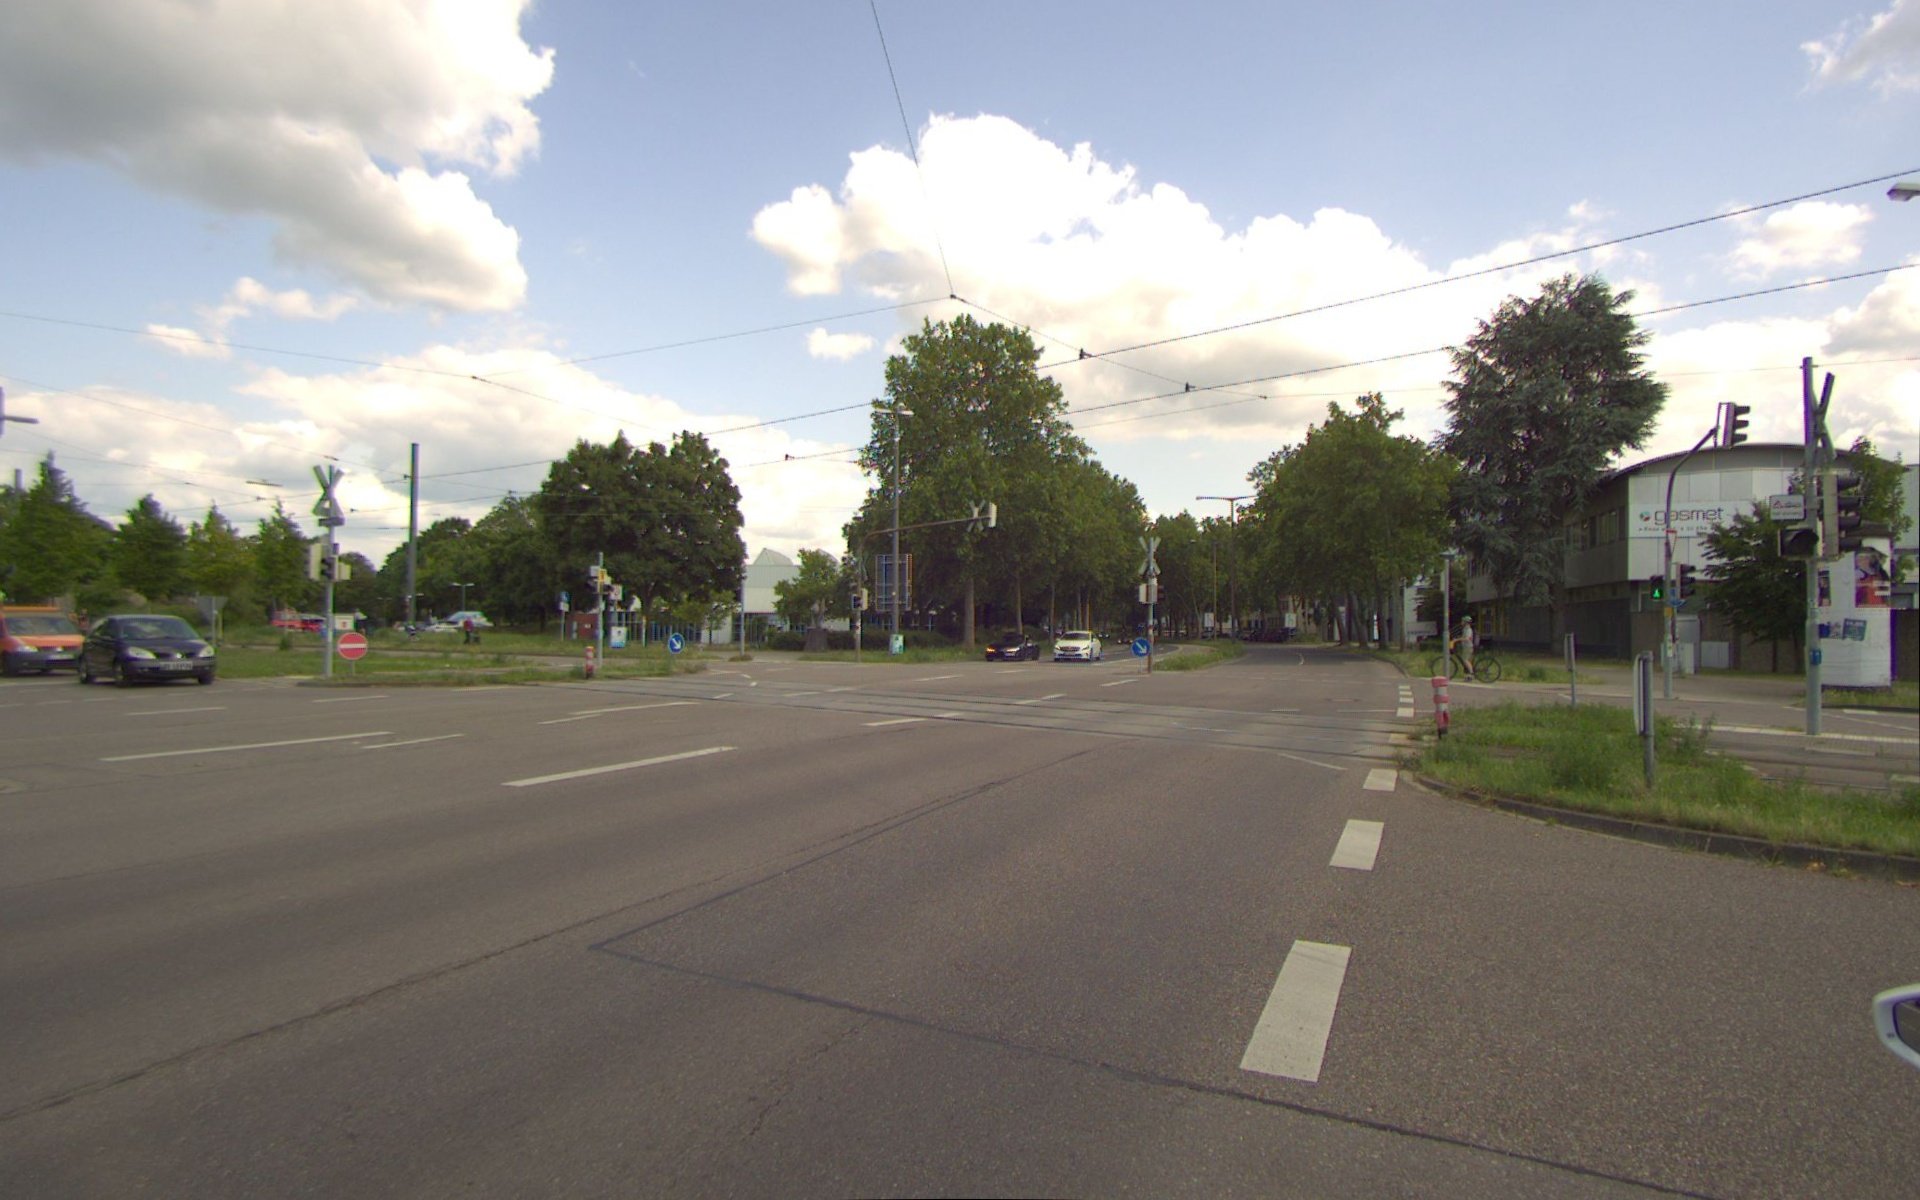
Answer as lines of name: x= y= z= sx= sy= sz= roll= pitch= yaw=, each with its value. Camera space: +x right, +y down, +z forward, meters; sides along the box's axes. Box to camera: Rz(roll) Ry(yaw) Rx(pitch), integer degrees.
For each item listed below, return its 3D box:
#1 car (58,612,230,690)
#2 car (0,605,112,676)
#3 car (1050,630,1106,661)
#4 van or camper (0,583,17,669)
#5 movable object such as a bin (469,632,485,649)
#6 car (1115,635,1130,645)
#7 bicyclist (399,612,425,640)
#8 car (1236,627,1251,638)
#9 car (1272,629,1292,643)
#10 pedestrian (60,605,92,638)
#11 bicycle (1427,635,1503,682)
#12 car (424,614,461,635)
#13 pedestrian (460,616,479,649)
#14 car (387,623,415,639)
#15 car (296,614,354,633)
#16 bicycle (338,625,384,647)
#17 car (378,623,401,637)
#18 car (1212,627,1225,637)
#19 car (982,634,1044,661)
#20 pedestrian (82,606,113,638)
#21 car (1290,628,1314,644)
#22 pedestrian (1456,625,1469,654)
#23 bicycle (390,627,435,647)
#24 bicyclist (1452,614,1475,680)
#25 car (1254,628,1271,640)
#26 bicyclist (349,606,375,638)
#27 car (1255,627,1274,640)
car: x=-18.842 y=1.130 z=23.168 sx=3.980 sy=1.652 sz=1.733 roll=0 pitch=-2 yaw=30
car: x=-25.400 y=1.063 z=27.537 sx=4.292 sy=1.823 sz=1.881 roll=0 pitch=-2 yaw=30
car: x=5.701 y=2.149 z=48.242 sx=1.795 sy=1.382 sz=4.138 roll=0 pitch=-2 yaw=20
van or camper: x=-31.632 y=0.783 z=31.118 sx=5.931 sy=2.557 sz=1.978 roll=0 pitch=-2 yaw=31
movable object such as a bin: x=-25.198 y=2.117 z=52.403 sx=0.450 sy=0.822 sz=0.579 roll=0 pitch=1 yaw=13
car: x=20.486 y=5.044 z=126.417 sx=1.607 sy=1.207 sz=3.710 roll=0 pitch=-1 yaw=5
bicyclist: x=-29.952 y=1.402 z=54.905 sx=0.819 sy=1.509 sz=0.964 roll=1 pitch=-1 yaw=3
car: x=45.538 y=5.166 z=161.579 sx=1.959 sy=1.595 sz=4.002 roll=0 pitch=0 yaw=10
car: x=40.713 y=4.504 z=127.080 sx=1.959 sy=1.595 sz=4.002 roll=0 pitch=0 yaw=10
pedestrian: x=-56.545 y=1.386 z=64.266 sx=1.154 sy=2.040 sz=1.106 roll=0 pitch=-1 yaw=22
bicycle: x=14.335 y=1.657 z=28.539 sx=1.918 sy=1.252 sz=0.540 roll=0 pitch=1 yaw=31
car: x=-41.171 y=1.951 z=79.859 sx=1.981 sy=1.661 sz=4.345 roll=2 pitch=-2 yaw=-36
pedestrian: x=-25.658 y=1.695 z=52.512 sx=0.625 sy=1.666 sz=0.613 roll=0 pitch=1 yaw=14
car: x=-58.922 y=3.291 z=105.832 sx=1.981 sy=1.661 sz=4.345 roll=2 pitch=-2 yaw=-36
car: x=-53.435 y=2.022 z=84.567 sx=3.963 sy=1.550 sz=1.979 roll=2 pitch=-2 yaw=-37
bicycle: x=-32.902 y=1.969 z=55.207 sx=1.946 sy=1.169 sz=0.951 roll=1 pitch=-1 yaw=-5
car: x=-69.971 y=3.693 z=123.237 sx=1.981 sy=1.661 sz=4.345 roll=2 pitch=-2 yaw=-36
car: x=45.130 y=5.574 z=175.495 sx=1.959 sy=1.595 sz=4.002 roll=0 pitch=0 yaw=10
car: x=2.605 y=2.273 z=48.725 sx=1.610 sy=1.207 sz=3.703 roll=0 pitch=-2 yaw=28
pedestrian: x=-56.121 y=1.421 z=65.376 sx=1.154 sy=2.040 sz=1.106 roll=0 pitch=-1 yaw=21
car: x=39.222 y=4.109 z=115.267 sx=1.959 sy=1.595 sz=4.002 roll=0 pitch=0 yaw=10
pedestrian: x=28.351 y=2.222 z=56.710 sx=0.610 sy=1.590 sz=0.559 roll=0 pitch=1 yaw=21
bicycle: x=-29.905 y=2.016 z=54.896 sx=1.944 sy=1.054 sz=0.952 roll=1 pitch=-1 yaw=3
bicyclist: x=14.313 y=1.335 z=28.558 sx=0.535 sy=1.834 sz=0.540 roll=0 pitch=1 yaw=31
car: x=43.909 y=4.931 z=145.809 sx=1.959 sy=1.595 sz=4.002 roll=0 pitch=0 yaw=10
bicyclist: x=-32.861 y=1.199 z=55.204 sx=0.820 sy=1.745 sz=0.962 roll=1 pitch=-1 yaw=-5
car: x=41.117 y=4.559 z=135.539 sx=1.959 sy=1.595 sz=4.002 roll=0 pitch=0 yaw=10
